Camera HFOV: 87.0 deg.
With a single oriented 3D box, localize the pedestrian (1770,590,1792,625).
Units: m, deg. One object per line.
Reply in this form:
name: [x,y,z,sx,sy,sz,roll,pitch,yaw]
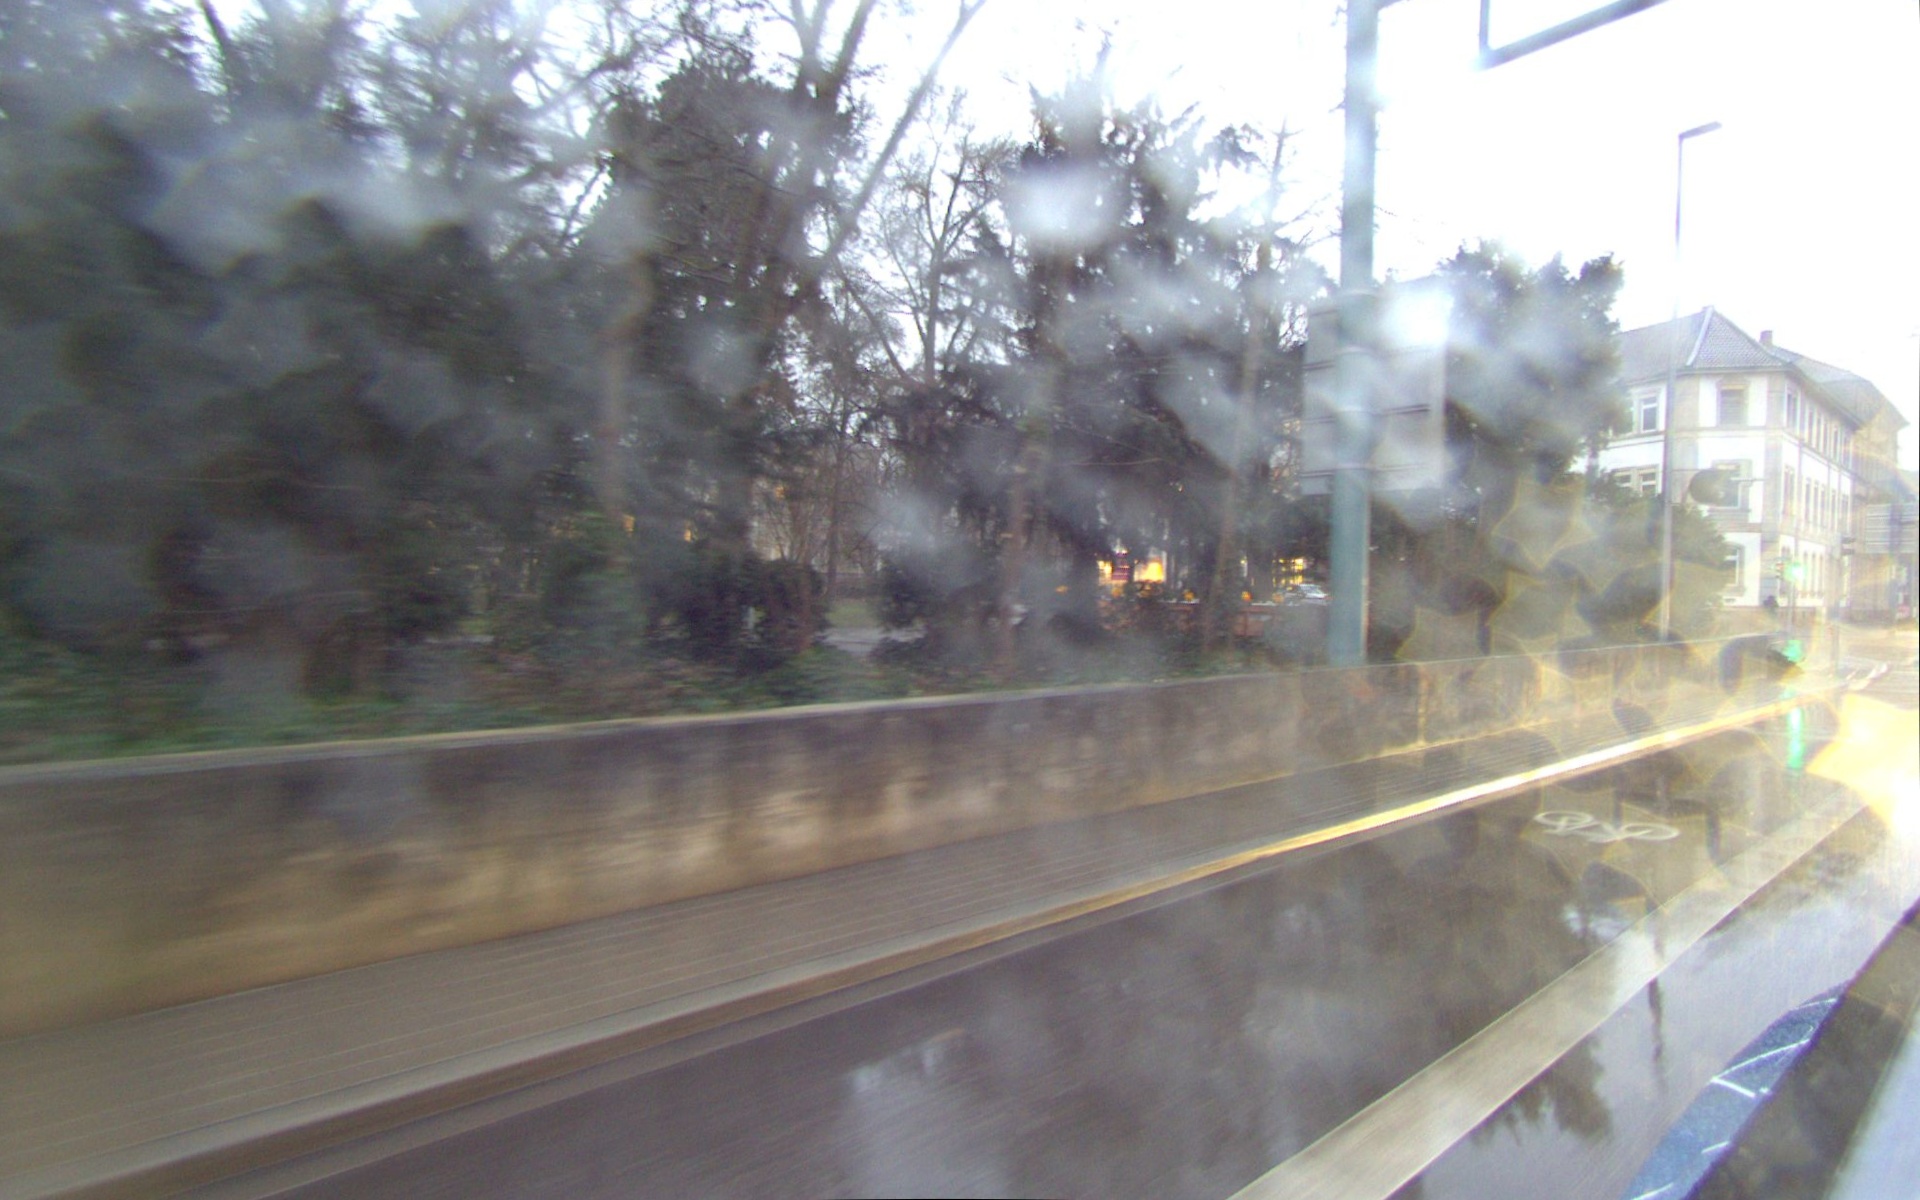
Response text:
pedestrian: [36.745,0.319,45.300,0.575,1.529,0.522,1,1,-24]
